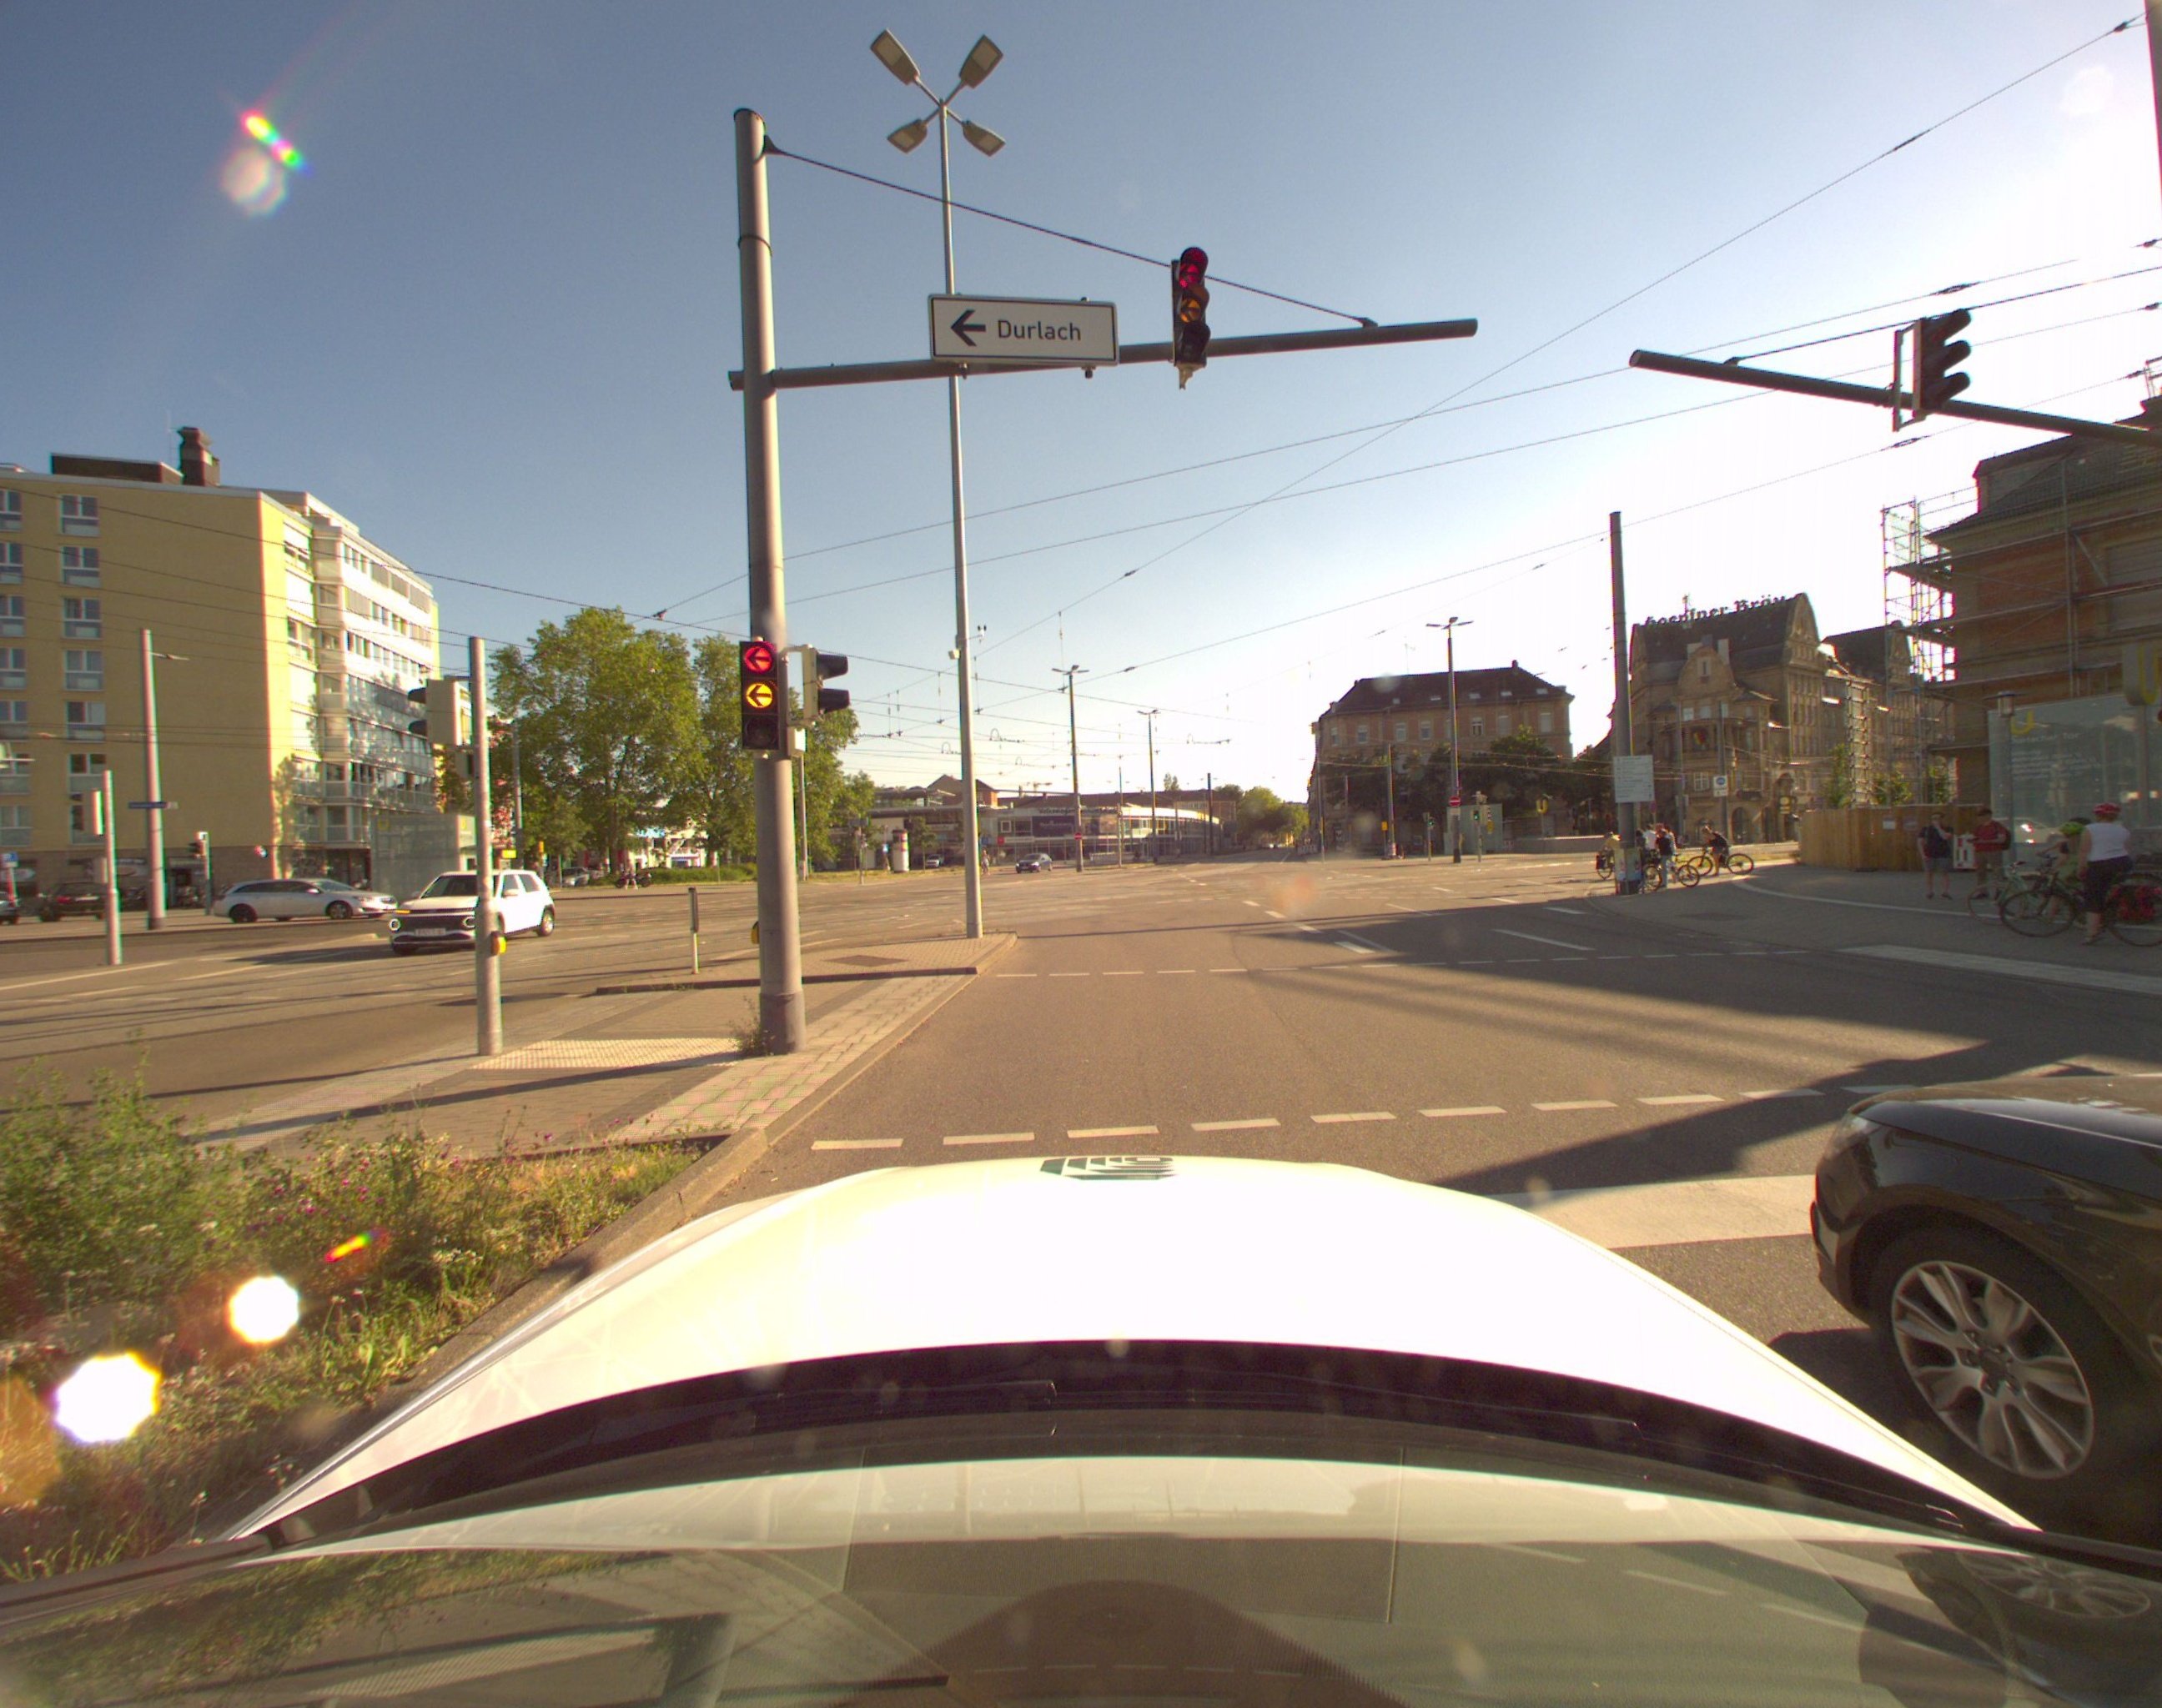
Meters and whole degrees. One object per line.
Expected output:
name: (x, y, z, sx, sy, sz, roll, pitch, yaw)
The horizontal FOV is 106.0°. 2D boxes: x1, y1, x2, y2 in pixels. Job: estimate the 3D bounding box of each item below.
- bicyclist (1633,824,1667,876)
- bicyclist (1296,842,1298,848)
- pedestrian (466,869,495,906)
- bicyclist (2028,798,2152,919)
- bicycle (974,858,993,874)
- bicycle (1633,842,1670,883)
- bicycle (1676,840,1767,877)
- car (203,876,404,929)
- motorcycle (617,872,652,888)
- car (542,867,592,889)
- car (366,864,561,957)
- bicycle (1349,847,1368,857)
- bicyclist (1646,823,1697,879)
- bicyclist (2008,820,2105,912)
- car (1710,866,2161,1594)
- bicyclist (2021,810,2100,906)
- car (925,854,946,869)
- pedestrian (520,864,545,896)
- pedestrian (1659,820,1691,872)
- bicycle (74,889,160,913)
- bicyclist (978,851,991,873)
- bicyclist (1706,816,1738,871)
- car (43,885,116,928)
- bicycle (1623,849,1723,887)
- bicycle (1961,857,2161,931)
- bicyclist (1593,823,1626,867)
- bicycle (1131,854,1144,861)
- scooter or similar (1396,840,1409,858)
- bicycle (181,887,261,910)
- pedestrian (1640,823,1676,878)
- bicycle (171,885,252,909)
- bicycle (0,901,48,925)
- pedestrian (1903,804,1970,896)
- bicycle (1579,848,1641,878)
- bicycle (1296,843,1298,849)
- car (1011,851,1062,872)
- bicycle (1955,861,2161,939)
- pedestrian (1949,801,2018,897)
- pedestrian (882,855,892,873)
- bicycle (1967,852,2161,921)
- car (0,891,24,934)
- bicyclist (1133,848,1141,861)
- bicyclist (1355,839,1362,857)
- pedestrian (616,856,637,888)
bicyclist: (15.960, -0.101, 22.856, 0.701, 1.439, 0.953, -1, -1, 31)
bicyclist: (34.835, -1.452, 131.408, 0.405, 1.116, 0.400, -1, -1, 13)
pedestrian: (-28.547, 1.576, 38.751, 0.790, 1.706, 0.760, -1, -1, 9)
bicyclist: (13.466, 0.062, 10.892, 0.664, 1.553, 0.794, 0, -1, -3)
bicycle: (-7.155, 0.872, 60.086, 0.607, 1.189, 1.878, -1, -1, 19)
bicycle: (15.922, 0.210, 22.768, 0.692, 1.049, 2.335, 0, 1, 31)
bicycle: (21.057, 0.145, 26.833, 2.290, 1.049, 0.539, -5, -1, 36)
car: (-26.368, 1.609, 27.797, 4.708, 1.662, 1.779, 0, -1, -12)
motorcycle: (-27.260, 1.576, 49.756, 1.779, 0.914, 0.675, 0, -1, -19)
car: (-37.303, 1.719, 59.238, 1.772, 1.567, 3.983, 0, -1, -12)
car: (-12.563, 1.056, 16.908, 1.783, 1.662, 3.980, 0, -1, -14)
bicycle: (26.736, -0.195, 78.470, 1.579, 0.952, 0.663, -1, -1, 35)
bicyclist: (17.055, -0.083, 23.522, 0.711, 1.557, 0.940, 0, -1, -22)
bicyclist: (14.436, 0.177, 12.071, 0.614, 1.315, 0.673, 0, -1, -3)
car: (2.891, 0.733, 0.752, 1.617, 1.404, 4.001, 0, -1, 2)
bicyclist: (15.393, 0.064, 12.803, 0.619, 1.454, 0.667, 0, -1, -27)
car: (-17.830, 0.922, 100.000, 1.988, 1.750, 3.997, 0, -1, -1)
pedestrian: (-29.965, 1.415, 44.504, 0.790, 1.706, 0.760, -1, -1, 9)
pedestrian: (22.109, -0.292, 30.320, 0.646, 1.922, 0.689, 0, -1, -6)
bicycle: (-50.251, 2.432, 42.496, 3.041, 1.151, 0.637, 0, -1, -16)
bicyclist: (-7.123, 0.558, 60.203, 0.593, 1.615, 0.827, -1, -1, 19)
bicyclist: (21.094, -0.321, 26.797, 0.785, 1.779, 0.526, -1, -1, 37)
car: (-44.256, 2.260, 35.986, 3.948, 1.706, 1.730, -1, -1, 35)
bicycle: (17.051, 0.386, 23.534, 0.701, 1.049, 2.303, 0, -1, -22)
bicycle: (14.453, 0.547, 12.003, 0.657, 0.963, 2.033, -4, 0, -3)
bicyclist: (19.109, -0.315, 29.467, 0.514, 1.557, 0.945, 0, -1, -7)
bicycle: (6.890, 0.412, 99.460, 0.632, 0.870, 2.249, -1, -1, 32)
scooter or similar: (24.734, -0.347, 62.703, 0.780, 1.376, 1.916, -1, -1, 16)
bicycle: (-46.605, 2.423, 44.163, 3.041, 1.151, 0.637, 0, -1, -16)
pedestrian: (21.389, -0.124, 30.197, 0.730, 2.014, 0.760, 0, -1, -6)
bicycle: (-46.418, 2.287, 43.508, 3.041, 1.151, 0.637, 0, -1, -16)
bicycle: (-54.478, 2.971, 41.112, 3.041, 1.151, 0.637, 0, -1, -16)
pedestrian: (17.344, -0.086, 16.517, 0.672, 1.807, 0.680, -3, 0, -19)
bicycle: (19.110, 0.305, 29.488, 0.533, 1.049, 2.315, 0, 1, -6)
bicycle: (34.844, -1.356, 131.414, 0.407, 0.941, 1.852, -1, -1, 15)
car: (-3.339, 0.563, 61.992, 1.975, 1.585, 4.024, -1, -1, 29)
bicycle: (13.457, 0.585, 11.182, 0.656, 0.963, 2.033, 0, -1, -3)
pedestrian: (17.547, -0.093, 15.840, 0.672, 1.807, 0.680, 0, -1, -19)
pedestrian: (-18.932, 0.971, 79.352, 0.854, 1.694, 0.497, 0, -1, -1)
bicycle: (15.438, 0.481, 12.734, 0.661, 0.963, 2.018, -4, 1, -25)
car: (-47.071, 2.509, 34.866, 3.948, 1.706, 2.013, -1, -1, 35)
bicyclist: (6.815, 0.053, 99.350, 0.647, 1.572, 0.928, -1, -1, 31)
bicyclist: (26.732, -0.602, 78.443, 0.509, 1.700, 0.523, -1, -1, 35)
pedestrian: (-27.092, 1.093, 48.593, 0.790, 1.886, 0.760, -1, -1, 9)
